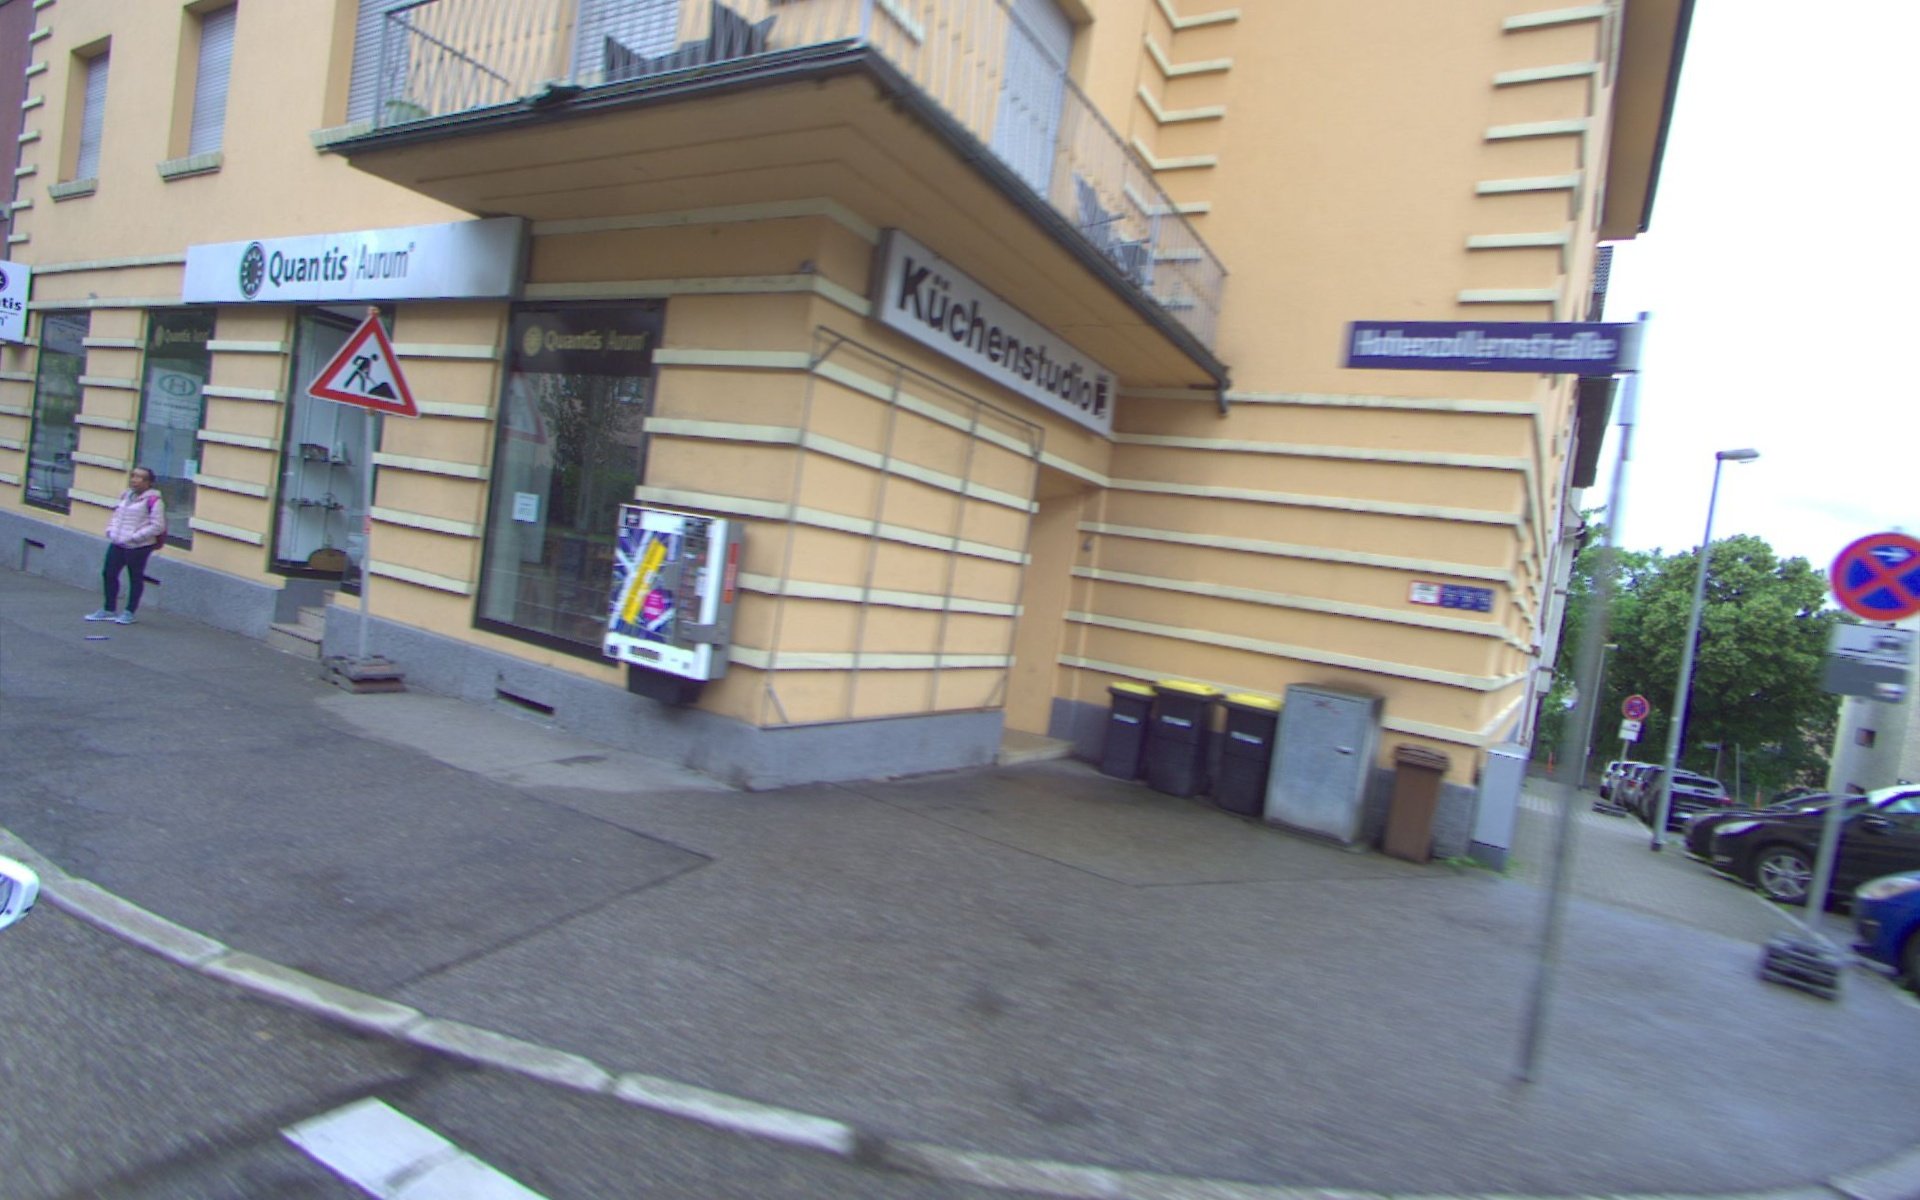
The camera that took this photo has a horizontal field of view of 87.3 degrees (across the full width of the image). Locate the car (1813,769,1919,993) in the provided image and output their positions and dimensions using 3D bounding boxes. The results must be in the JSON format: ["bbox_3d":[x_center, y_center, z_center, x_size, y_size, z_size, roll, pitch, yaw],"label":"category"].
[{"bbox_3d":[8.382,2.293,6.739,1.692,1.509,3.606,9,-1,-31],"label":"car"}]

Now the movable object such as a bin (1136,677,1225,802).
[{"bbox_3d":[2.122,1.335,9.665,0.504,1.069,0.506,13,2,32],"label":"movable object such as a bin"}]

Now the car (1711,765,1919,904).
[{"bbox_3d":[14.382,3.714,15.865,1.687,1.487,3.589,6,1,-25],"label":"car"}]

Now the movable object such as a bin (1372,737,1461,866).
[{"bbox_3d":[3.935,1.715,8.670,0.504,0.943,0.505,10,4,32],"label":"movable object such as a bin"}]

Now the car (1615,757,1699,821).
[{"bbox_3d":[22.848,6.159,33.116,1.796,1.551,3.860,10,-2,32],"label":"car"}]

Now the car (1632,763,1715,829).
[{"bbox_3d":[20.836,5.703,29.476,1.599,1.450,2.764,10,-2,32],"label":"car"}]

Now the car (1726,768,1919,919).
[{"bbox_3d":[12.833,3.426,13.477,1.689,1.485,3.589,11,-2,-25],"label":"car"}]

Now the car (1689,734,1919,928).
[{"bbox_3d":[11.331,2.841,11.425,1.693,1.744,4.497,9,-1,-34],"label":"car"}]

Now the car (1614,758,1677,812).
[{"bbox_3d":[25.415,6.833,37.369,1.545,1.545,3.824,10,-2,32],"label":"car"}]

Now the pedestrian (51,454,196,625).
[{"bbox_3d":[-8.471,-0.588,10.215,0.698,1.610,0.768,6,1,13],"label":"pedestrian"}]

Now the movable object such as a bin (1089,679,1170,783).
[{"bbox_3d":[1.702,1.304,10.062,0.504,0.929,0.506,10,0,32],"label":"movable object such as a bin"}]

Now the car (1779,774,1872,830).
[{"bbox_3d":[35.537,8.253,41.442,1.849,1.665,4.078,10,-2,29],"label":"car"}]

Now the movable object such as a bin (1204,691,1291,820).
[{"bbox_3d":[2.660,1.413,9.295,0.504,1.055,0.505,10,4,32],"label":"movable object such as a bin"}]

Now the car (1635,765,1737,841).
[{"bbox_3d":[18.388,5.098,25.613,1.585,1.404,3.527,10,-2,31],"label":"car"}]
